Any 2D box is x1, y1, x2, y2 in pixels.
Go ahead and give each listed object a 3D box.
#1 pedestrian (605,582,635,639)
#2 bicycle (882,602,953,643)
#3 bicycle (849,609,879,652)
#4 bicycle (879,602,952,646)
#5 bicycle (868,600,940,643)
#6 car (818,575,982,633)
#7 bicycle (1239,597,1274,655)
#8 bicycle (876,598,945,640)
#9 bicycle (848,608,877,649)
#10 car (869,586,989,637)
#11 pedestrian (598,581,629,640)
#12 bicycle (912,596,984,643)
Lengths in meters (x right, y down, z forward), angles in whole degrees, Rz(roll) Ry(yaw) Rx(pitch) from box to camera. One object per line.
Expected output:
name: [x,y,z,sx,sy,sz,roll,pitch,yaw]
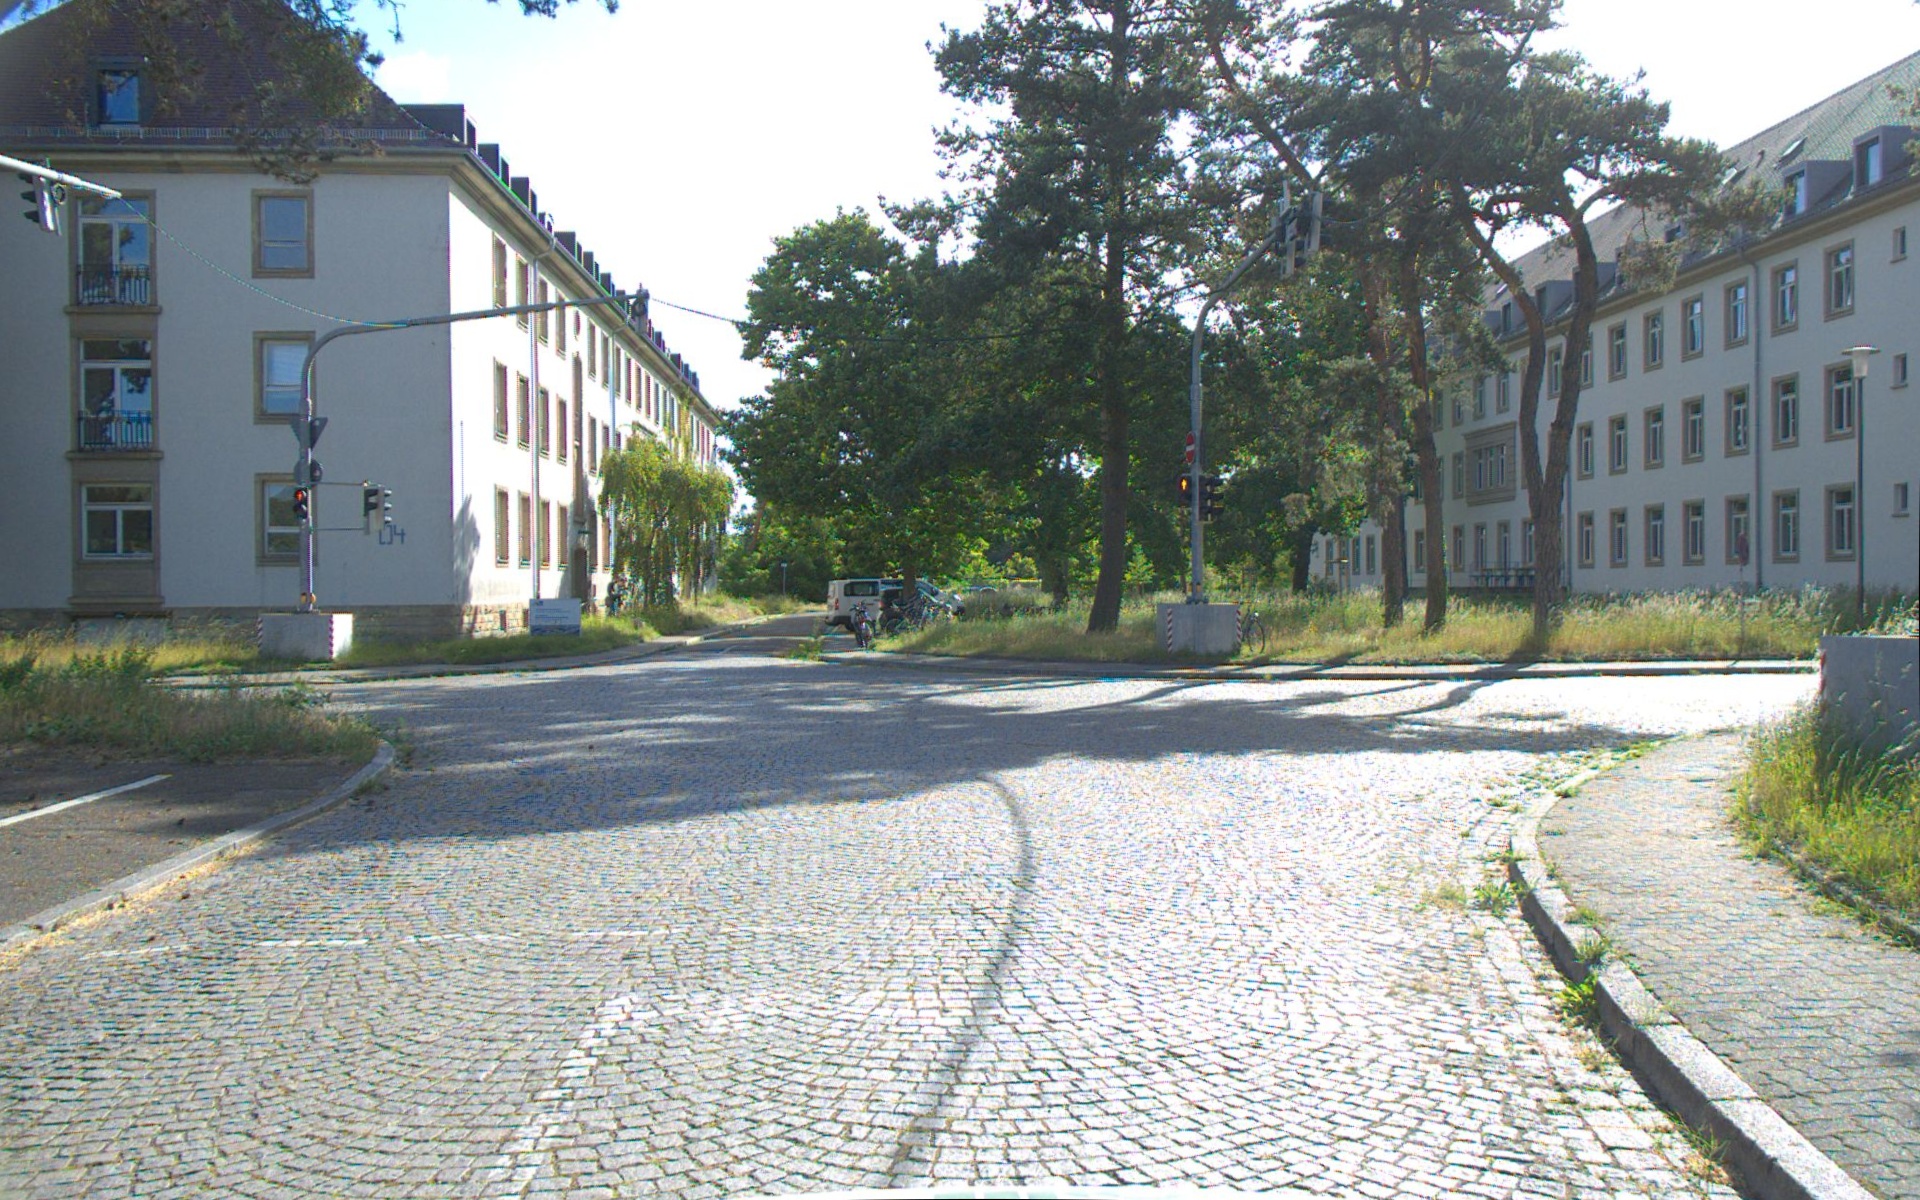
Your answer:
pedestrian: [-11.002,0.335,53.533,0.751,1.849,0.683,0,0,8]
bicycle: [-1.119,0.596,43.531,1.819,1.049,0.749,0,0,-6]
bicycle: [-2.326,0.727,39.986,0.682,0.988,1.859,0,0,-5]
bicycle: [-1.191,0.637,44.323,1.903,1.149,0.749,0,0,-6]
bicycle: [-1.540,0.588,45.524,1.920,1.149,0.641,-1,0,-30]
car: [-2.252,0.140,61.411,5.822,2.049,2.470,0,0,-10]
bicycle: [5.687,0.493,31.746,0.456,1.099,1.174,0,0,1]
bicycle: [-1.396,0.537,46.624,1.904,1.149,0.646,0,0,-8]
bicycle: [-2.478,0.707,41.917,0.682,0.988,1.859,0,0,-5]
car: [-1.109,0.383,57.281,3.915,1.713,1.842,0,0,-11]
pedestrian: [-11.060,0.332,52.799,0.794,1.849,0.555,-1,0,8]
bicycle: [-0.331,0.514,45.071,1.903,1.257,0.485,0,0,-6]
